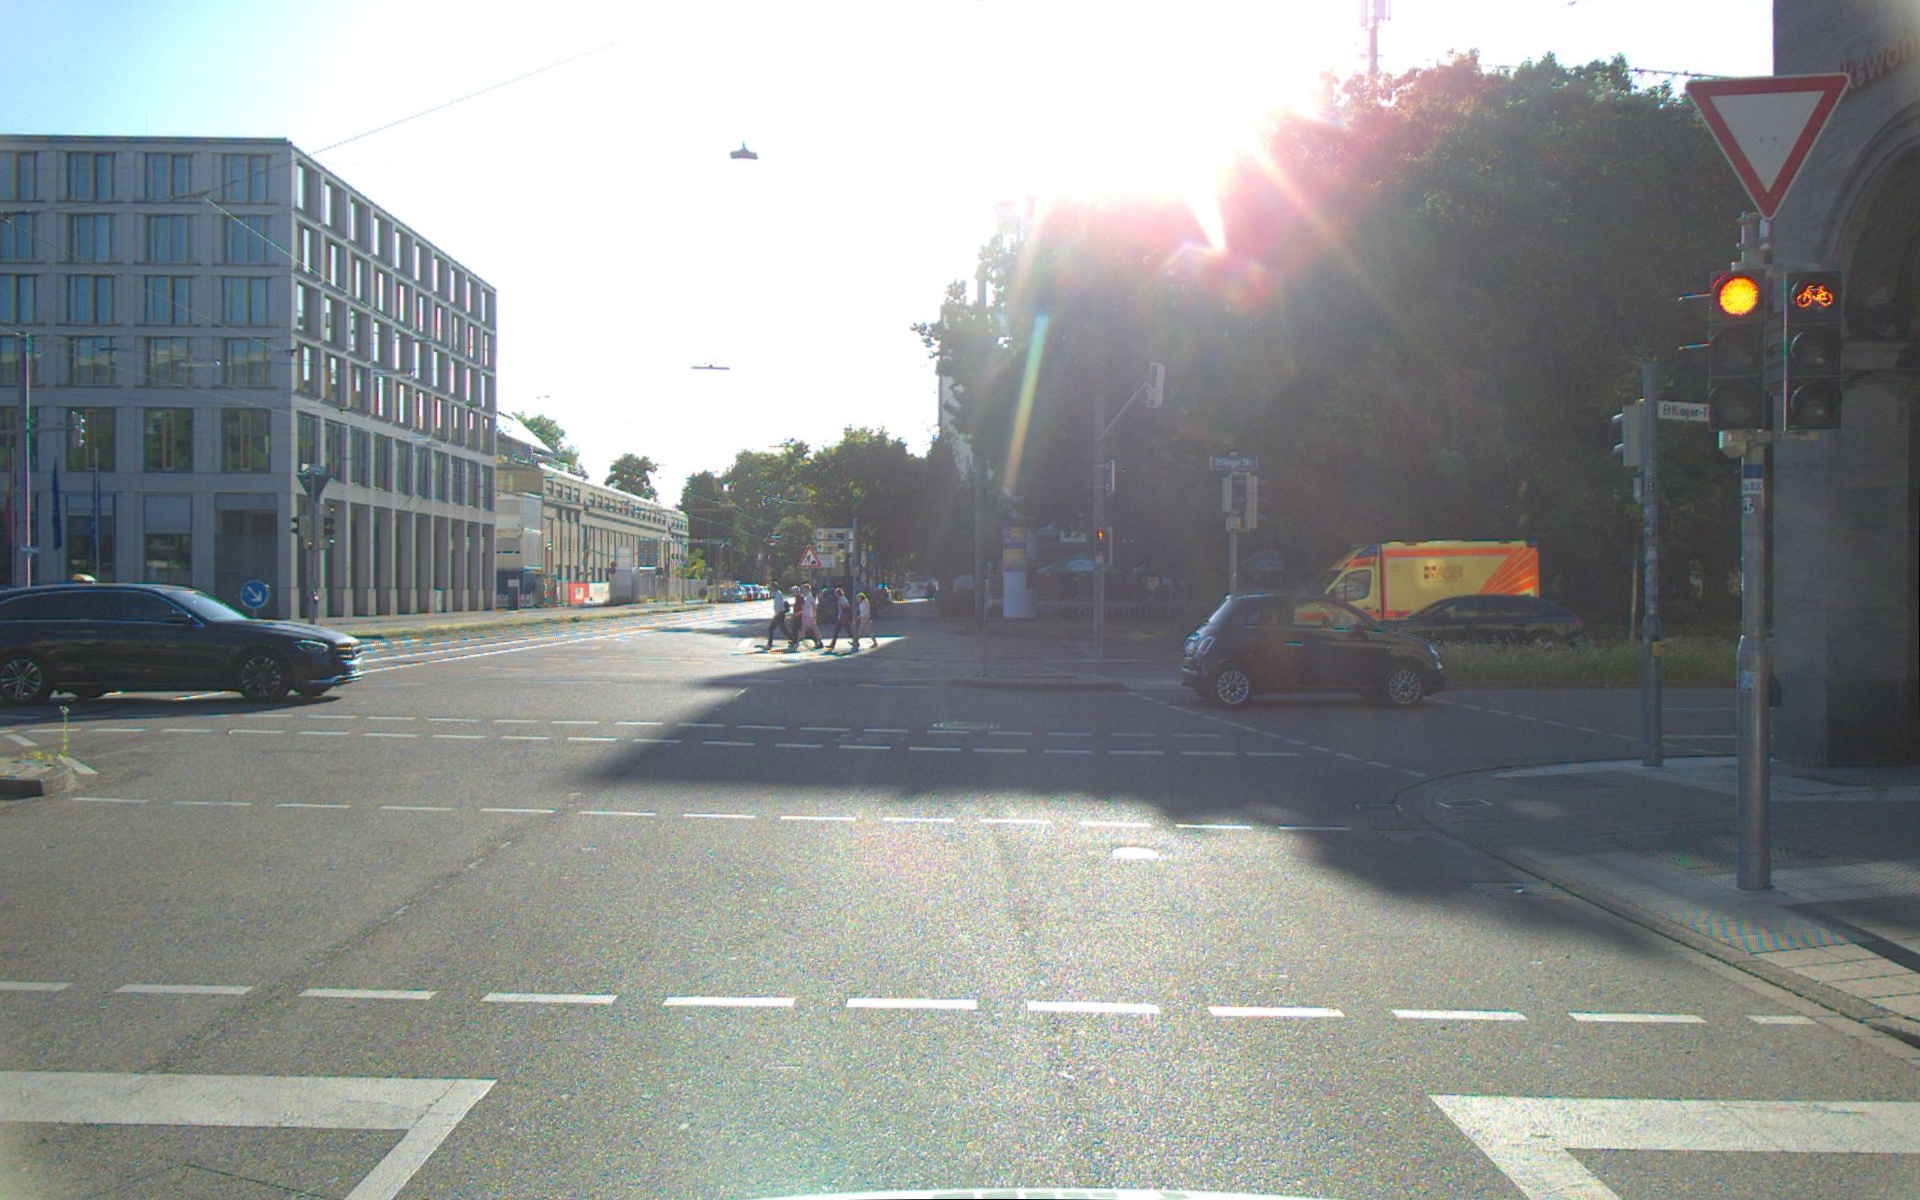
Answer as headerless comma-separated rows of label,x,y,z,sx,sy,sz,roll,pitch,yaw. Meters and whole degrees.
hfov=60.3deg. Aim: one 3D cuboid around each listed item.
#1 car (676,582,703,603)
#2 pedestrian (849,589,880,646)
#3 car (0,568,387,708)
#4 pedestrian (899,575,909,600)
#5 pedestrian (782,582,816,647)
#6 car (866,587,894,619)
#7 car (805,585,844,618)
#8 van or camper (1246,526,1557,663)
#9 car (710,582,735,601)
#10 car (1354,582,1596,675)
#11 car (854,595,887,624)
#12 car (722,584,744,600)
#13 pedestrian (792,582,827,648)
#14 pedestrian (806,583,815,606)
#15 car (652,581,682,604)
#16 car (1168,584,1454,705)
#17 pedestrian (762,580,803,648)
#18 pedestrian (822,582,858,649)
car,-23.542,-0.636,144.021,1.782,1.742,3.805,0,0,-1
pedestrian,-2.667,0.483,46.216,0.750,1.586,0.585,0,0,-17
car,-10.030,0.456,21.045,4.799,1.685,1.934,0,0,-1
pedestrian,-8.350,-1.903,245.679,1.373,3.660,1.567,2,-1,-1
pedestrian,-4.557,0.403,46.758,0.834,1.815,0.776,0,0,-17
car,-5.205,0.233,107.547,1.650,1.996,3.508,2,-1,-1
car,-6.677,0.106,81.755,1.650,1.527,3.508,2,-1,-1
van or camper,10.205,-0.106,38.833,6.568,2.912,2.912,2,-1,3
car,-22.342,-0.780,155.643,1.782,1.742,3.805,0,0,-1
car,10.244,0.565,33.111,4.226,1.676,1.887,2,-1,-1
car,-4.940,0.517,91.935,1.650,1.527,3.508,2,-1,-1
car,-21.892,-0.809,159.615,1.577,1.525,3.805,0,0,-1
pedestrian,-4.195,0.412,46.018,0.834,1.815,0.776,0,0,-17
pedestrian,-9.632,-0.352,106.817,0.513,1.510,0.437,2,-1,-2
car,-23.551,-0.605,133.112,1.782,1.742,3.805,0,0,-1
car,4.631,0.574,22.101,3.460,1.532,1.521,1,0,-3
pedestrian,-4.796,0.374,44.654,0.950,1.815,0.776,0,0,-17
pedestrian,-3.290,0.430,45.375,0.834,1.815,0.776,0,0,-17
